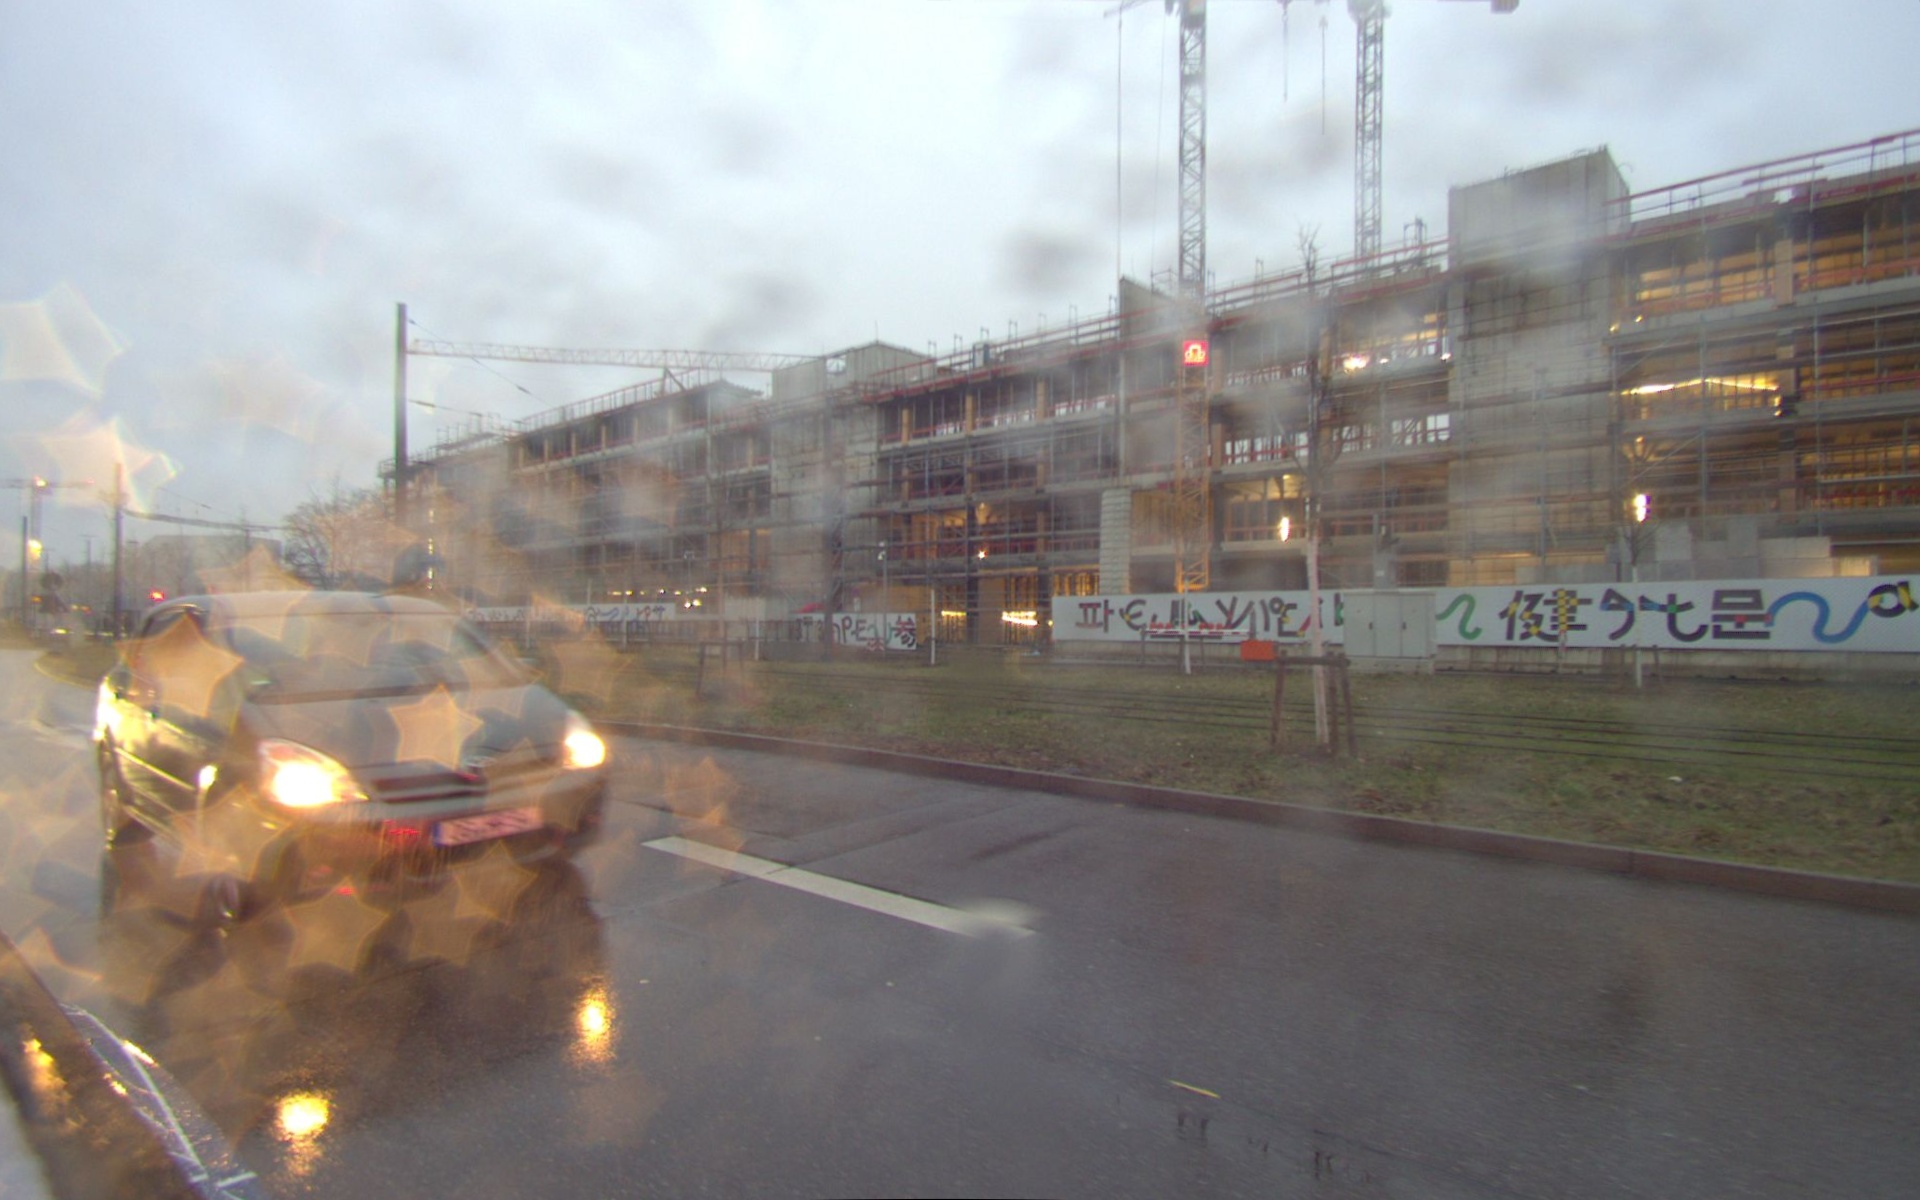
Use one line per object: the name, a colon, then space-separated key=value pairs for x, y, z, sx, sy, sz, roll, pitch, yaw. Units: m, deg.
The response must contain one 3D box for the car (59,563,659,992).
car: x=-3.729 y=0.734 z=5.957 sx=4.131 sy=1.659 sz=1.792 roll=-2 pitch=-1 yaw=40
